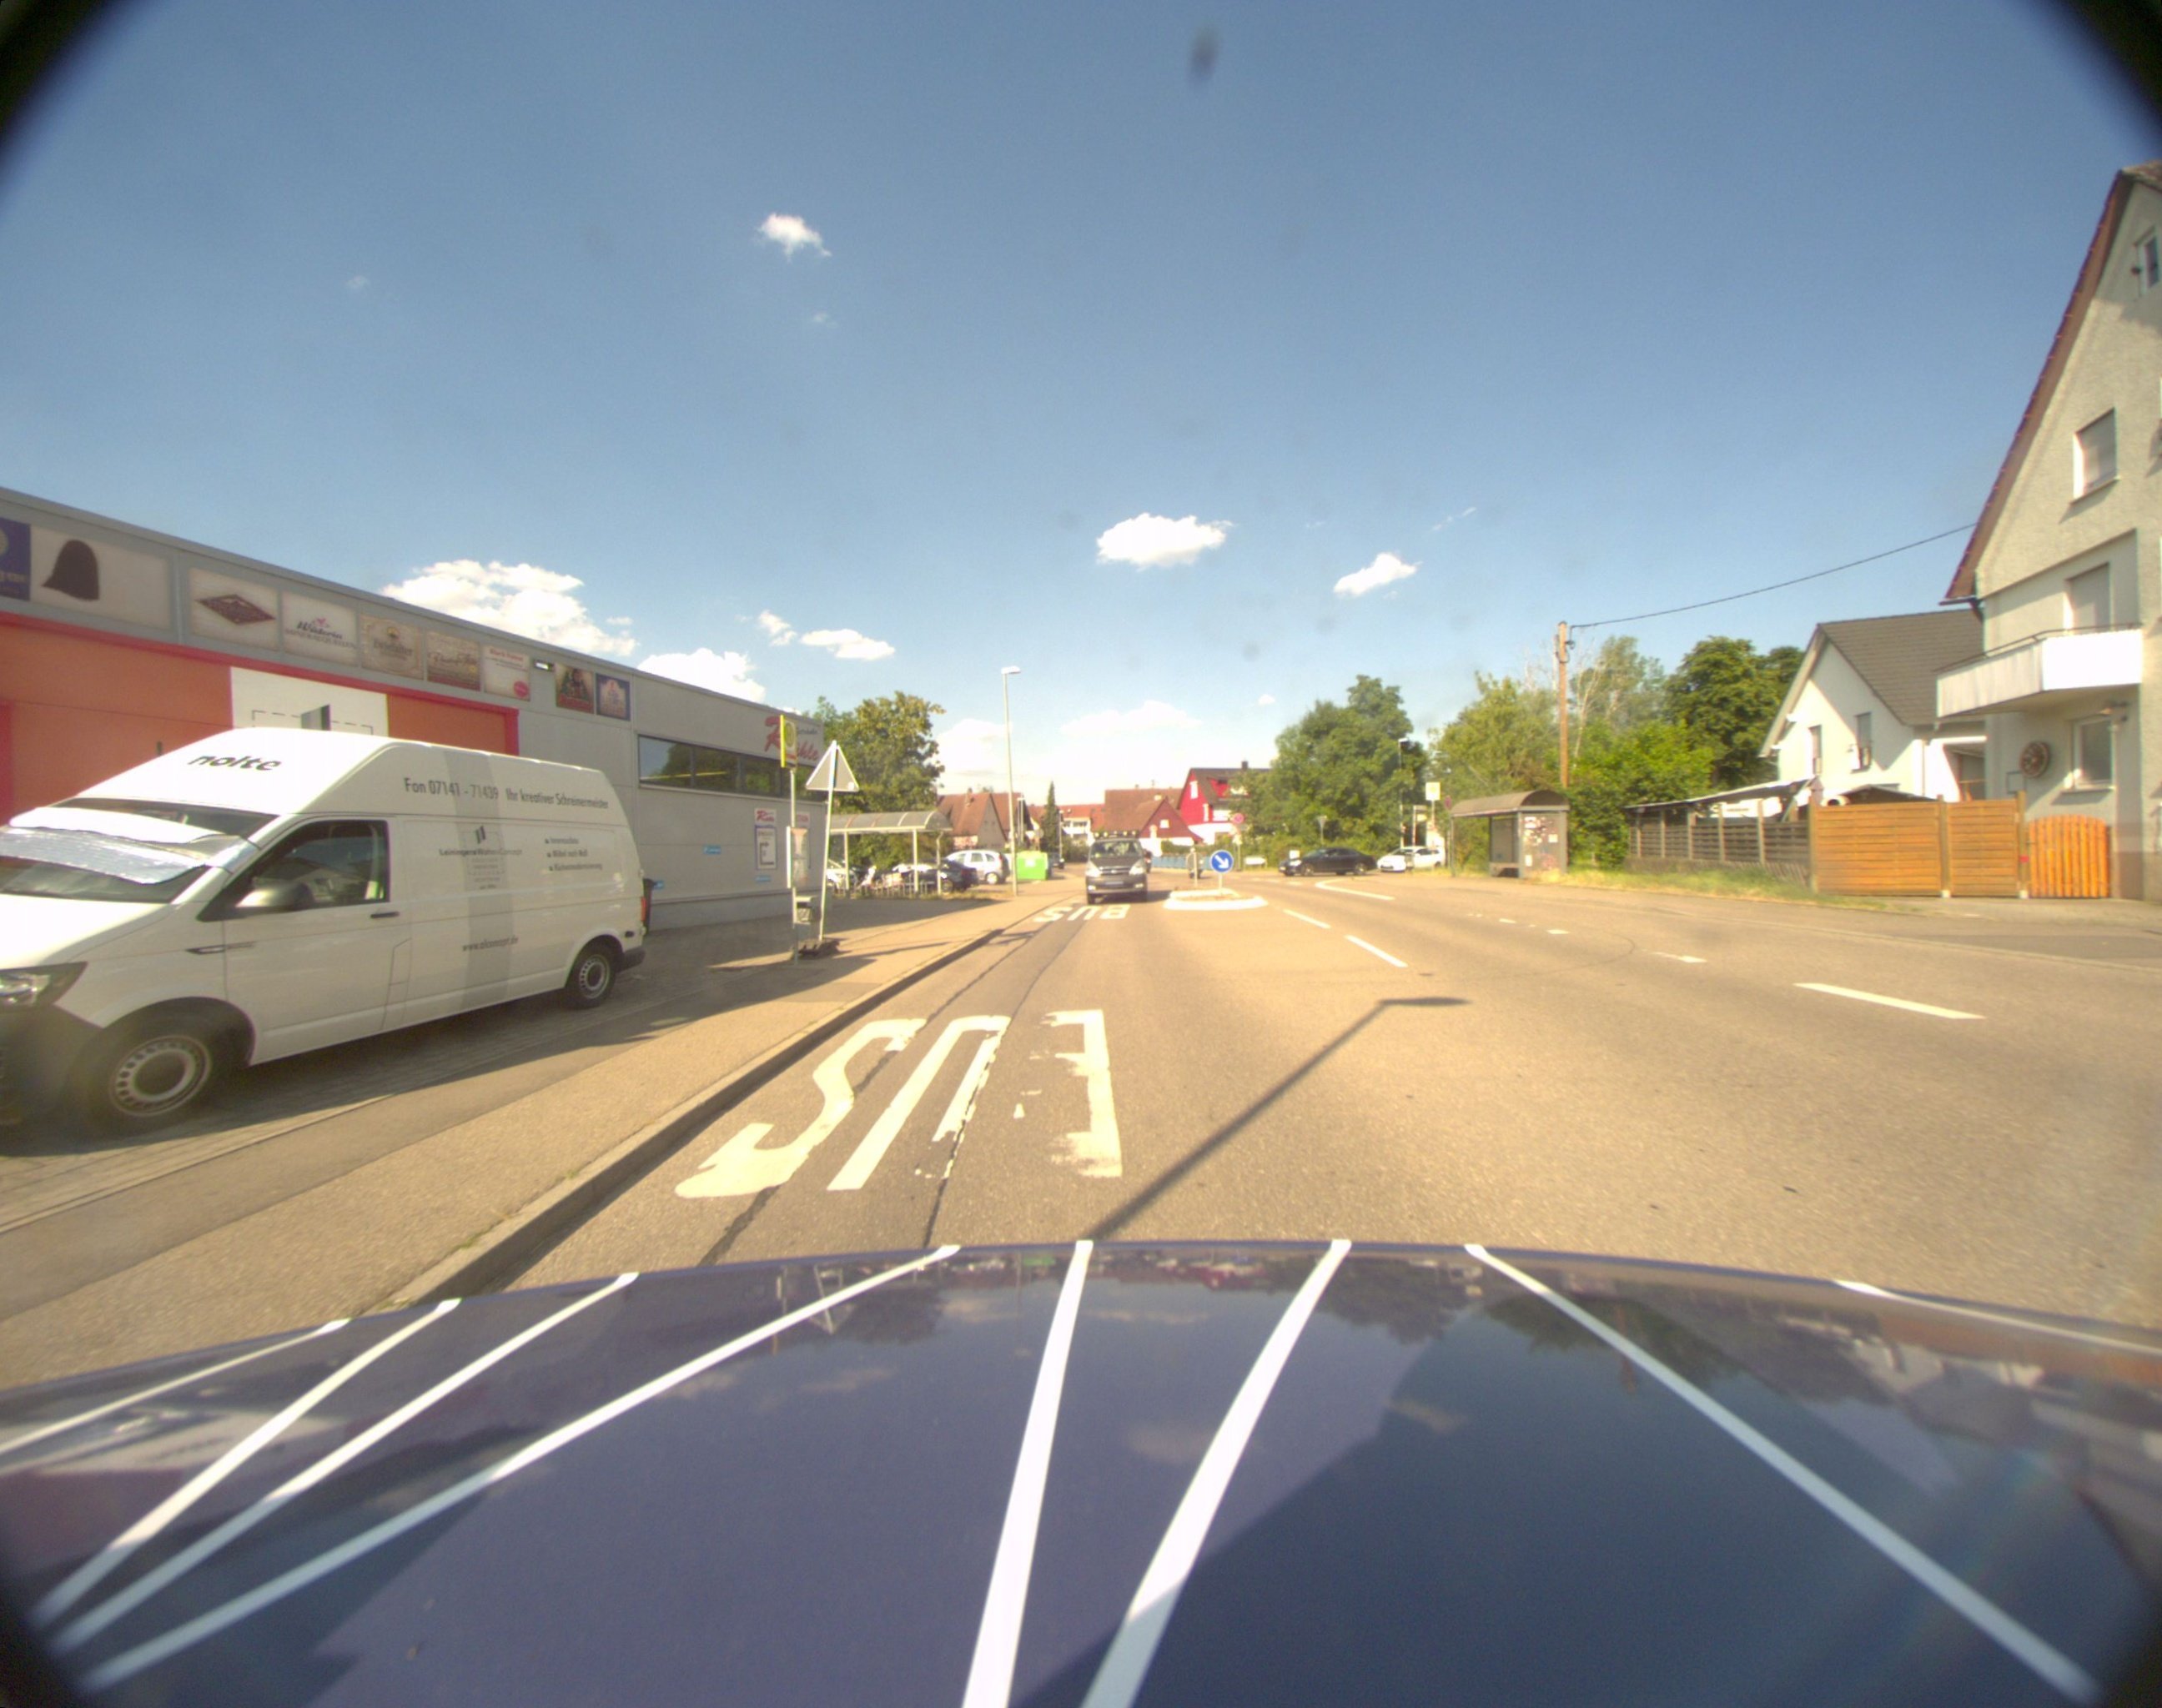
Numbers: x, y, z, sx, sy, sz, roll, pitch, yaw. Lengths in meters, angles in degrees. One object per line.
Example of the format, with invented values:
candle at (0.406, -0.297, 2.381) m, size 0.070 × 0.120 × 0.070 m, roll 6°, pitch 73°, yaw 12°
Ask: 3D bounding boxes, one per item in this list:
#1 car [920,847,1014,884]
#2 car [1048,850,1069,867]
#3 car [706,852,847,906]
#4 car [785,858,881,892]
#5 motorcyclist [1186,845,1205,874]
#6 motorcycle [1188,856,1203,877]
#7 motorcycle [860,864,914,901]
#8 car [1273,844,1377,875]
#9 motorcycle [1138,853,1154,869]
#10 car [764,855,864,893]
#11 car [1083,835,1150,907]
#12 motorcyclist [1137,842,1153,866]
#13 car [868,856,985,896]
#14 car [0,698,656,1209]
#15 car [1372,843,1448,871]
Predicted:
car at (-5.210, 0.524, 35.094) m, size 3.947 × 1.594 × 1.683 m, roll -1°, pitch 2°, yaw 7°
car at (-2.276, 0.410, 74.660) m, size 1.973 × 1.647 × 3.998 m, roll 0°, pitch 1°, yaw -3°
car at (-8.690, 0.681, 21.729) m, size 3.560 × 1.449 × 1.500 m, roll 0°, pitch 0°, yaw 15°
car at (-11.768, 0.989, 36.168) m, size 3.947 × 1.440 × 1.683 m, roll -1°, pitch 2°, yaw 7°
motorcyclist at (5.774, 0.270, 38.385) m, size 0.804 × 1.428 × 1.037 m, roll -3°, pitch 1°, yaw 4°
motorcycle at (5.749, 0.618, 38.282) m, size 0.525 × 1.007 × 2.028 m, roll -3°, pitch 1°, yaw 3°
motorcycle at (-6.925, 1.006, 27.221) m, size 1.831 × 1.316 × 0.640 m, roll 0°, pitch 1°, yaw -11°
car at (12.390, 0.252, 38.590) m, size 4.847 × 1.423 × 1.768 m, roll -1°, pitch 1°, yaw -15°
motorcycle at (4.291, 0.464, 50.113) m, size 0.540 × 1.007 × 2.026 m, roll -4°, pitch 1°, yaw -9°
car at (-10.587, 0.771, 30.237) m, size 3.442 × 1.408 × 1.499 m, roll 0°, pitch 1°, yaw 11°
car at (1.189, 0.481, 24.396) m, size 1.819 × 1.988 × 4.822 m, roll -3°, pitch 0°, yaw 4°
motorcyclist at (4.232, -0.004, 50.243) m, size 0.738 × 1.518 × 1.015 m, roll -4°, pitch 1°, yaw -9°
car at (-5.931, 0.822, 29.349) m, size 4.072 × 1.408 × 1.626 m, roll 0°, pitch 1°, yaw 9°
car at (-5.765, 0.401, 5.786) m, size 1.840 × 2.361 × 5.179 m, roll 4°, pitch 1°, yaw 3°
car at (19.140, 0.129, 44.166) m, size 4.282 × 1.483 × 1.857 m, roll -1°, pitch 1°, yaw -30°
